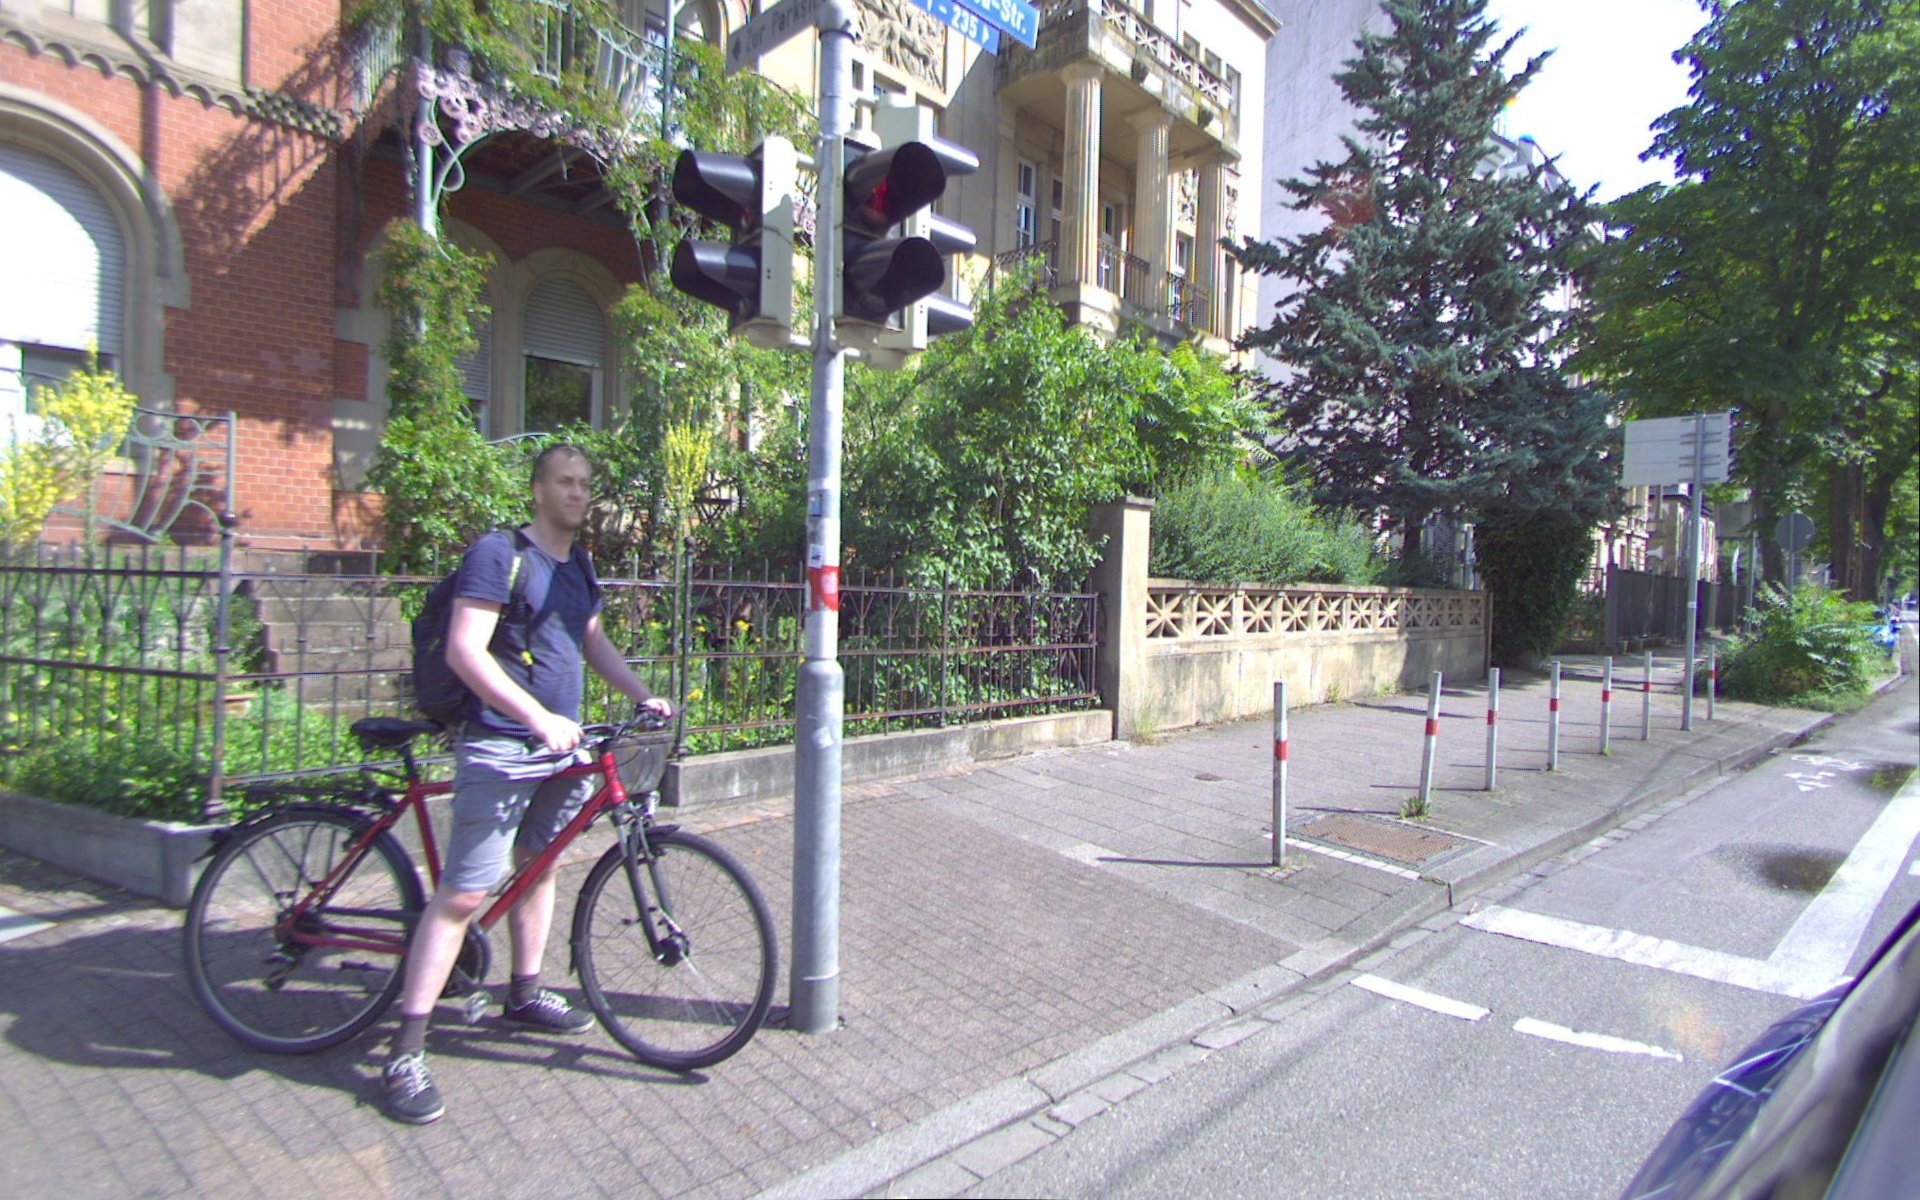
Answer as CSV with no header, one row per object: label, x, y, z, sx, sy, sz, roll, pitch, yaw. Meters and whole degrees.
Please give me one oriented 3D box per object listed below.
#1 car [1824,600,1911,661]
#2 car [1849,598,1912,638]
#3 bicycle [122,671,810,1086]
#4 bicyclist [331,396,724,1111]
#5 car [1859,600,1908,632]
car,25.321,0.788,28.223,1.638,1.473,3.641,5,3,43
car,37.732,0.705,41.468,1.721,1.469,3.863,5,4,44
bicycle,-1.392,0.787,2.991,1.810,1.048,0.390,2,1,-1
bicyclist,-1.290,0.381,3.123,0.726,1.842,0.814,2,1,22
car,50.366,0.858,55.149,1.771,1.550,4.133,5,4,44
